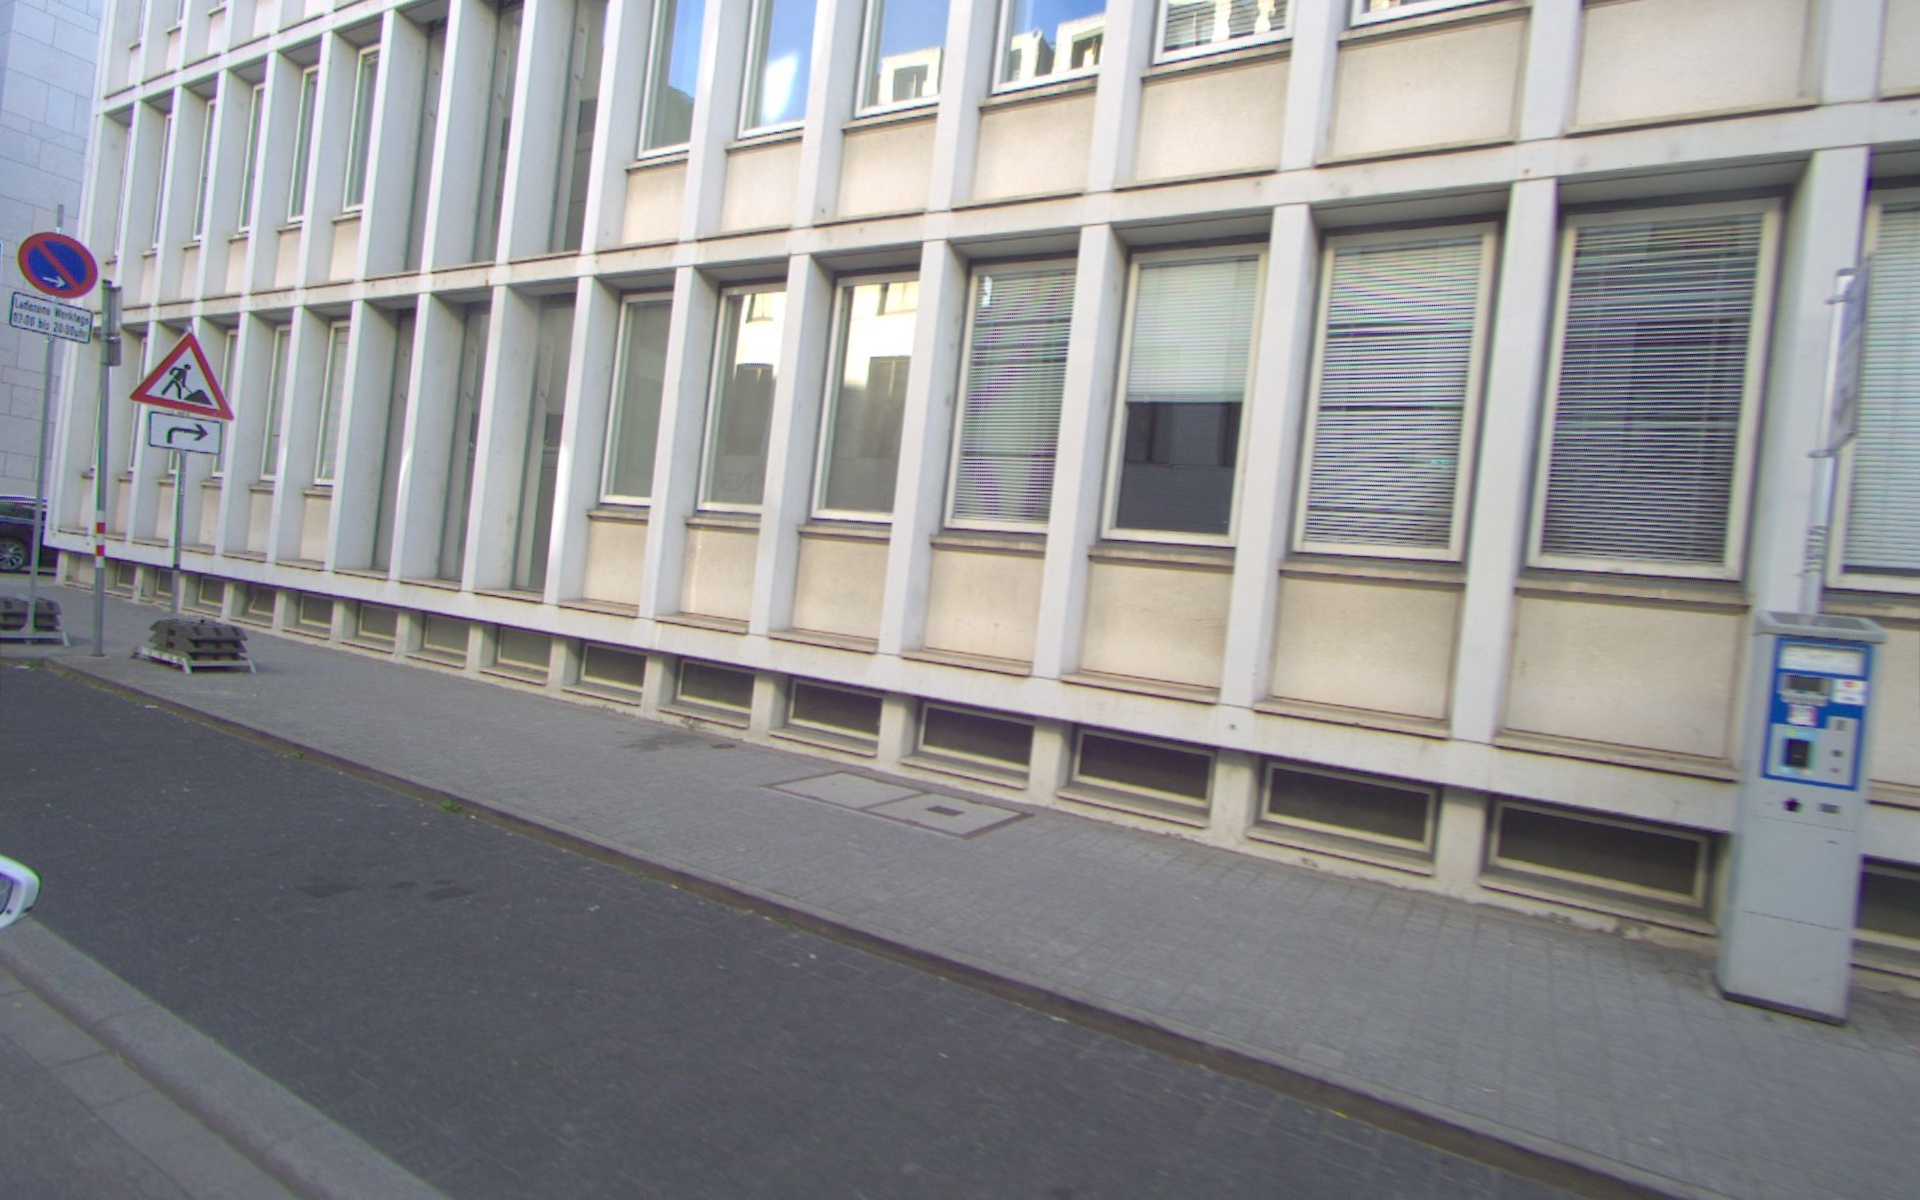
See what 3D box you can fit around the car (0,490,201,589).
[{"bbox_3d":[-18.063,-1.263,19.947,1.796,1.560,4.362,8,0,26],"label":"car"}]
